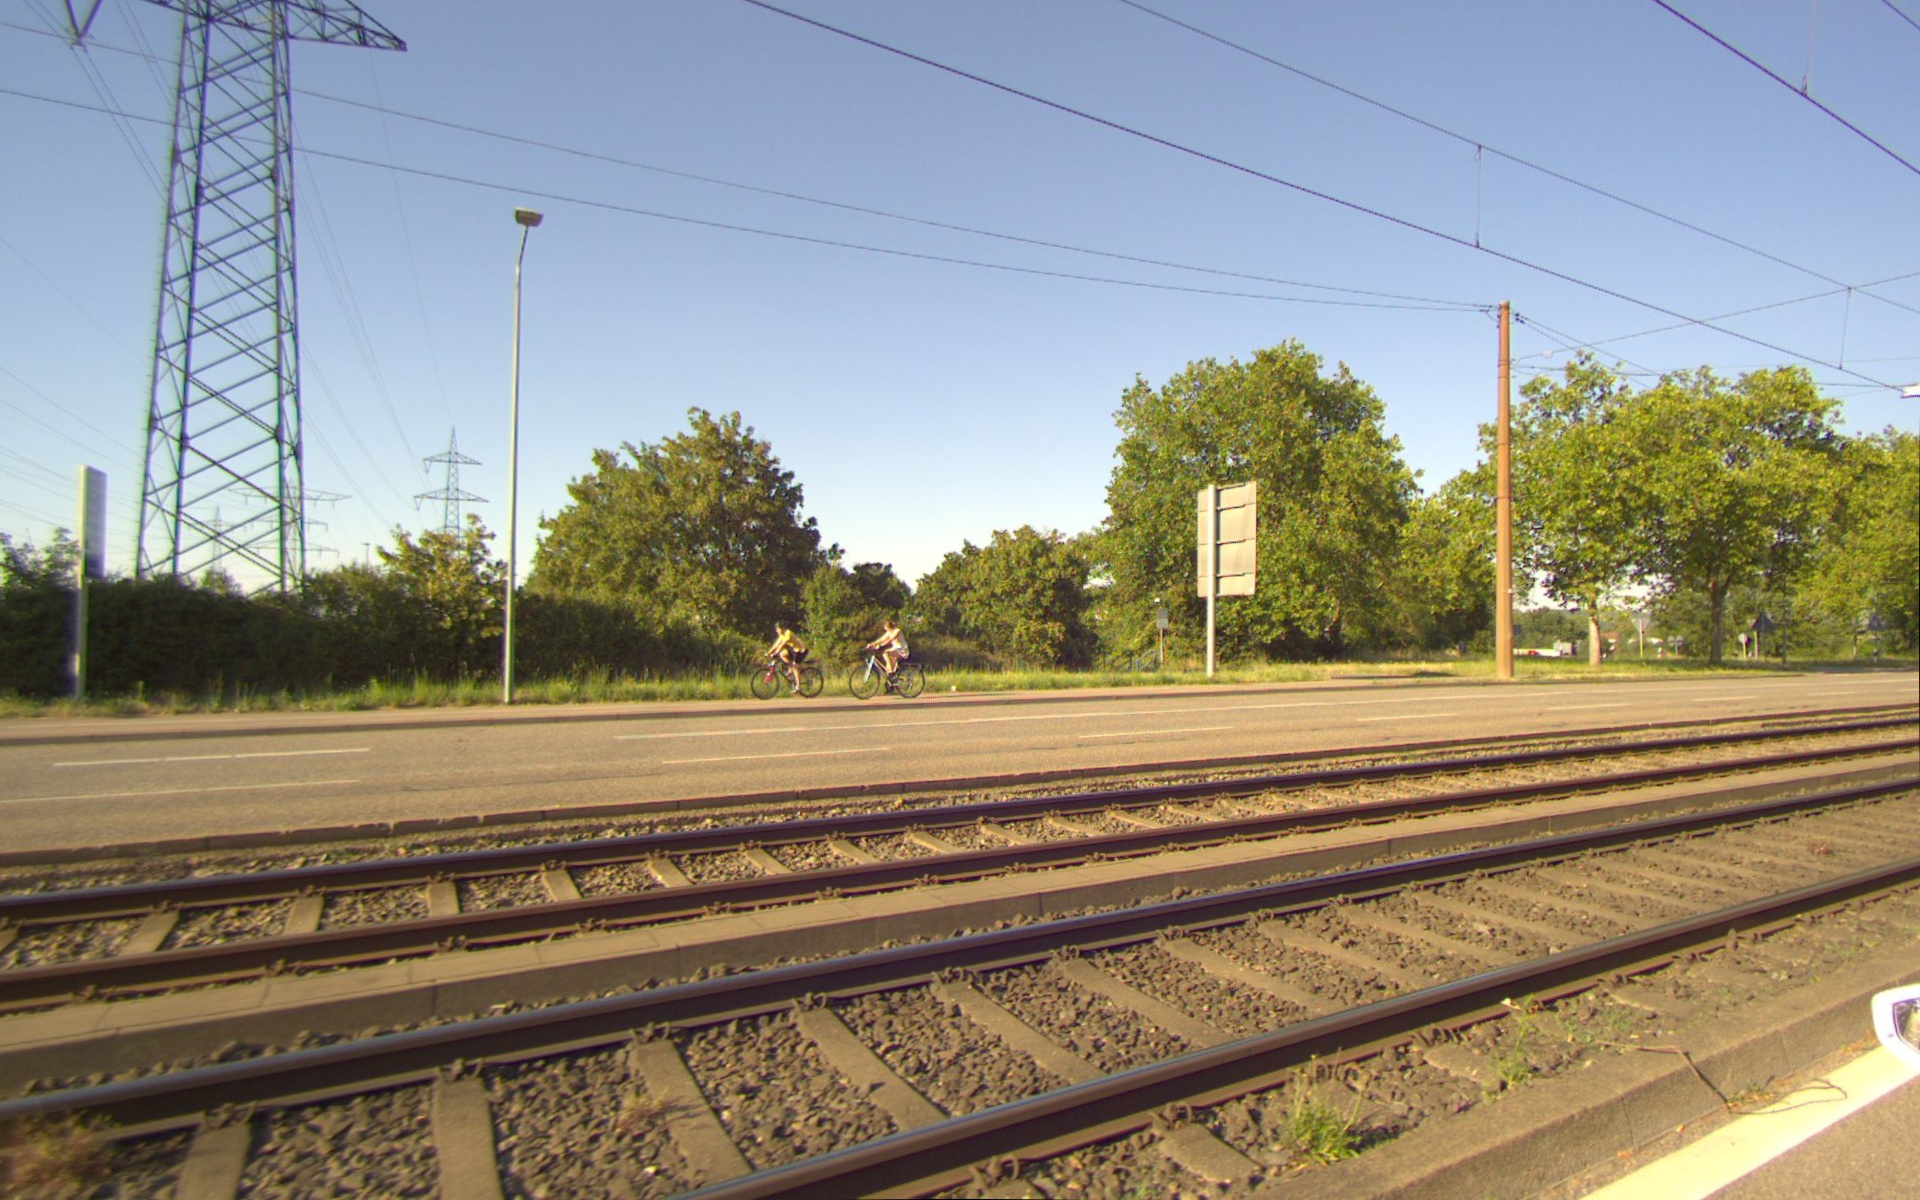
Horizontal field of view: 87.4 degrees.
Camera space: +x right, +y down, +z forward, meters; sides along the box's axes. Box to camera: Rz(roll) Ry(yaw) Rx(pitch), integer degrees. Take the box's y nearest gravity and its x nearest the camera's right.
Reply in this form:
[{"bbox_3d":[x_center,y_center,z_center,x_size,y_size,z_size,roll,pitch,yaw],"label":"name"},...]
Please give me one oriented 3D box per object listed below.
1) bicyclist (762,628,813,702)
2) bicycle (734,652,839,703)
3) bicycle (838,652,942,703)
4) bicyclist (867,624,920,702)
[{"bbox_3d":[-3.701,1.378,21.557,0.895,1.548,0.587,2,-2,-30],"label":"bicyclist"},{"bbox_3d":[-3.709,1.642,21.554,2.160,1.035,0.587,2,-2,-31],"label":"bicycle"},{"bbox_3d":[-1.478,1.627,21.419,2.160,1.035,0.587,2,-2,-31],"label":"bicycle"},{"bbox_3d":[-1.424,1.331,21.443,0.956,1.632,0.587,2,-2,-30],"label":"bicyclist"}]
